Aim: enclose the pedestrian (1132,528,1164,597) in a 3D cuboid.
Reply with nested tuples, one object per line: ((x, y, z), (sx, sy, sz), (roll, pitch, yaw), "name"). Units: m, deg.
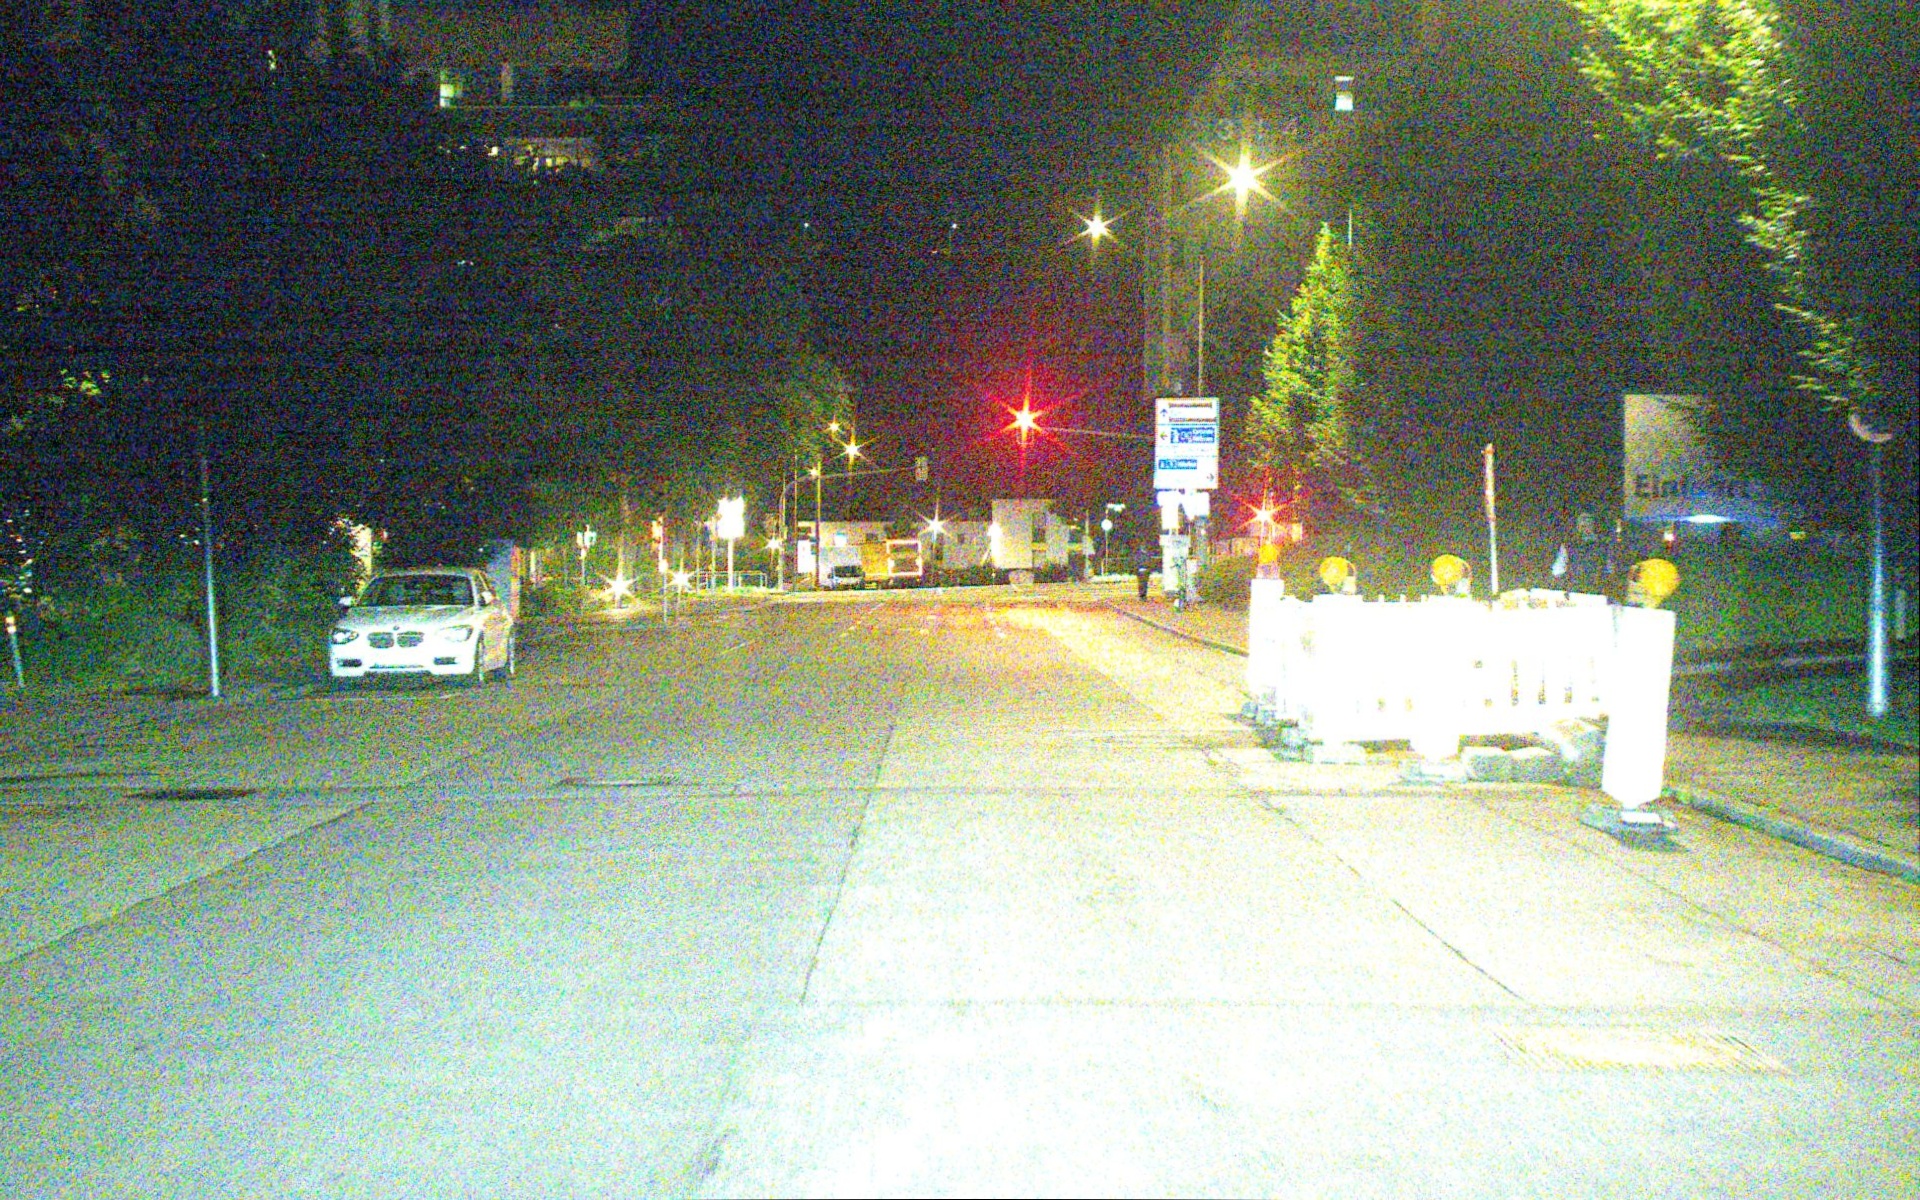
((5.416, -1.082, 99.137), (0.737, 1.975, 0.626), (-1, 1, -16), "pedestrian")

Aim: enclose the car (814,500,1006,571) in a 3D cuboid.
((-3.450, -4.406, 235.343), (12.380, 4.693, 4.811), (-1, 1, -13), "car")

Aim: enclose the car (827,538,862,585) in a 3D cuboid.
((-7.506, -2.506, 223.184), (1.993, 2.963, 4.001), (-1, 1, -5), "car")

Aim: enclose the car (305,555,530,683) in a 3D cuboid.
((-6.411, 0.188, 41.075), (1.911, 1.399, 4.338), (-1, 1, 1), "car")

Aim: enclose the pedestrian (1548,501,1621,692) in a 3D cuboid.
((6.116, -0.043, 33.678), (0.570, 1.846, 0.820), (-1, 1, 1), "pedestrian")
